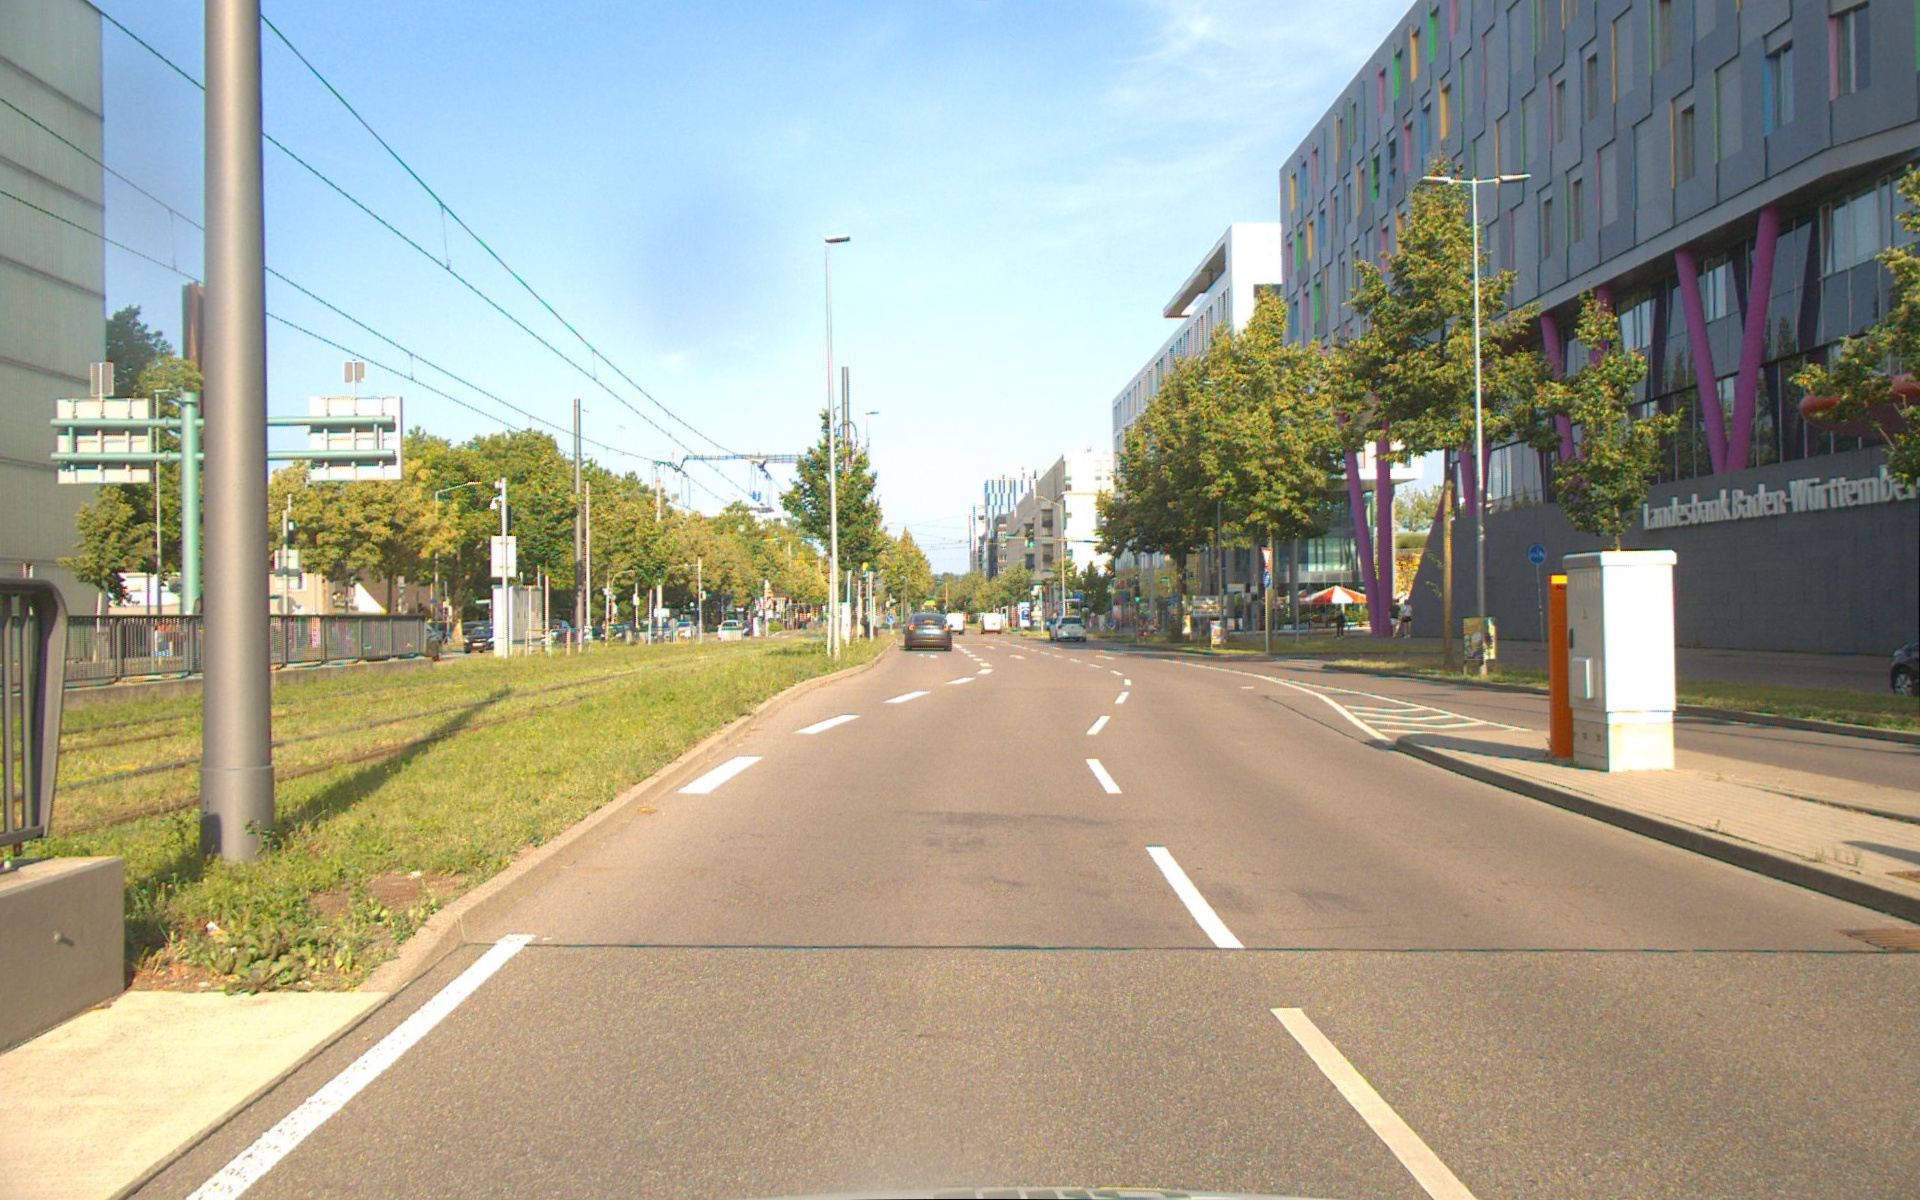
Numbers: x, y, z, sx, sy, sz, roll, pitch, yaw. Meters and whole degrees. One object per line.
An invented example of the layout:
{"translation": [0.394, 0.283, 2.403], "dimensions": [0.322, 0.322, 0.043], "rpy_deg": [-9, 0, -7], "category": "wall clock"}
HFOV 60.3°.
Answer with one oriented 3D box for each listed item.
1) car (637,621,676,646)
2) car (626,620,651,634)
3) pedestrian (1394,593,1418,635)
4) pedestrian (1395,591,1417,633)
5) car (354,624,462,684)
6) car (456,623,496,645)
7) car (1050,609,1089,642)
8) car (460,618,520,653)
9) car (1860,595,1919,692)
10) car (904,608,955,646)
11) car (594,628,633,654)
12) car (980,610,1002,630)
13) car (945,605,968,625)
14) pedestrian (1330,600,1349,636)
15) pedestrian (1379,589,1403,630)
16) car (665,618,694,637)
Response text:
{"translation": [-22.042, 2.425, 120.209], "dimensions": [1.954, 1.554, 4.911], "rpy_deg": [-4, 0, -2], "category": "car"}
{"translation": [-36.575, 3.078, 188.292], "dimensions": [1.842, 1.587, 4.002], "rpy_deg": [-1, -1, 4], "category": "car"}
{"translation": [20.139, 0.632, 74.667], "dimensions": [0.752, 1.857, 0.852], "rpy_deg": [-3, -1, -3], "category": "pedestrian"}
{"translation": [20.151, 0.548, 74.715], "dimensions": [0.643, 1.824, 0.786], "rpy_deg": [-3, -1, -3], "category": "pedestrian"}
{"translation": [-17.475, 1.676, 52.595], "dimensions": [1.953, 1.717, 4.724], "rpy_deg": [-1, 0, -2], "category": "car"}
{"translation": [-39.489, 2.751, 134.894], "dimensions": [1.842, 1.780, 4.002], "rpy_deg": [-1, -1, 4], "category": "car"}
{"translation": [6.063, 1.403, 92.157], "dimensions": [1.826, 1.713, 3.999], "rpy_deg": [1, 0, -1], "category": "car"}
{"translation": [-24.696, 1.851, 87.022], "dimensions": [1.953, 1.717, 4.724], "rpy_deg": [-1, 0, -2], "category": "car"}
{"translation": [14.966, 0.627, 23.740], "dimensions": [1.658, 1.414, 4.196], "rpy_deg": [-1, 0, -3], "category": "car"}
{"translation": [-1.230, 1.049, 65.198], "dimensions": [1.852, 1.410, 4.332], "rpy_deg": [1, 0, -3], "category": "car"}
{"translation": [-24.799, 2.920, 118.493], "dimensions": [1.953, 1.717, 4.614], "rpy_deg": [-1, 0, -2], "category": "car"}
{"translation": [2.838, 1.835, 152.161], "dimensions": [1.826, 1.713, 3.999], "rpy_deg": [1, 0, -1], "category": "car"}
{"translation": [-0.345, 1.352, 147.061], "dimensions": [1.974, 1.713, 3.999], "rpy_deg": [1, 0, -1], "category": "car"}
{"translation": [18.294, 0.857, 79.749], "dimensions": [0.680, 1.667, 0.736], "rpy_deg": [-3, -1, -3], "category": "pedestrian"}
{"translation": [19.452, 0.418, 74.606], "dimensions": [0.739, 1.825, 0.843], "rpy_deg": [-3, -1, -3], "category": "pedestrian"}
{"translation": [-24.669, 2.434, 145.621], "dimensions": [1.867, 1.554, 4.440], "rpy_deg": [-1, 0, -1], "category": "car"}
